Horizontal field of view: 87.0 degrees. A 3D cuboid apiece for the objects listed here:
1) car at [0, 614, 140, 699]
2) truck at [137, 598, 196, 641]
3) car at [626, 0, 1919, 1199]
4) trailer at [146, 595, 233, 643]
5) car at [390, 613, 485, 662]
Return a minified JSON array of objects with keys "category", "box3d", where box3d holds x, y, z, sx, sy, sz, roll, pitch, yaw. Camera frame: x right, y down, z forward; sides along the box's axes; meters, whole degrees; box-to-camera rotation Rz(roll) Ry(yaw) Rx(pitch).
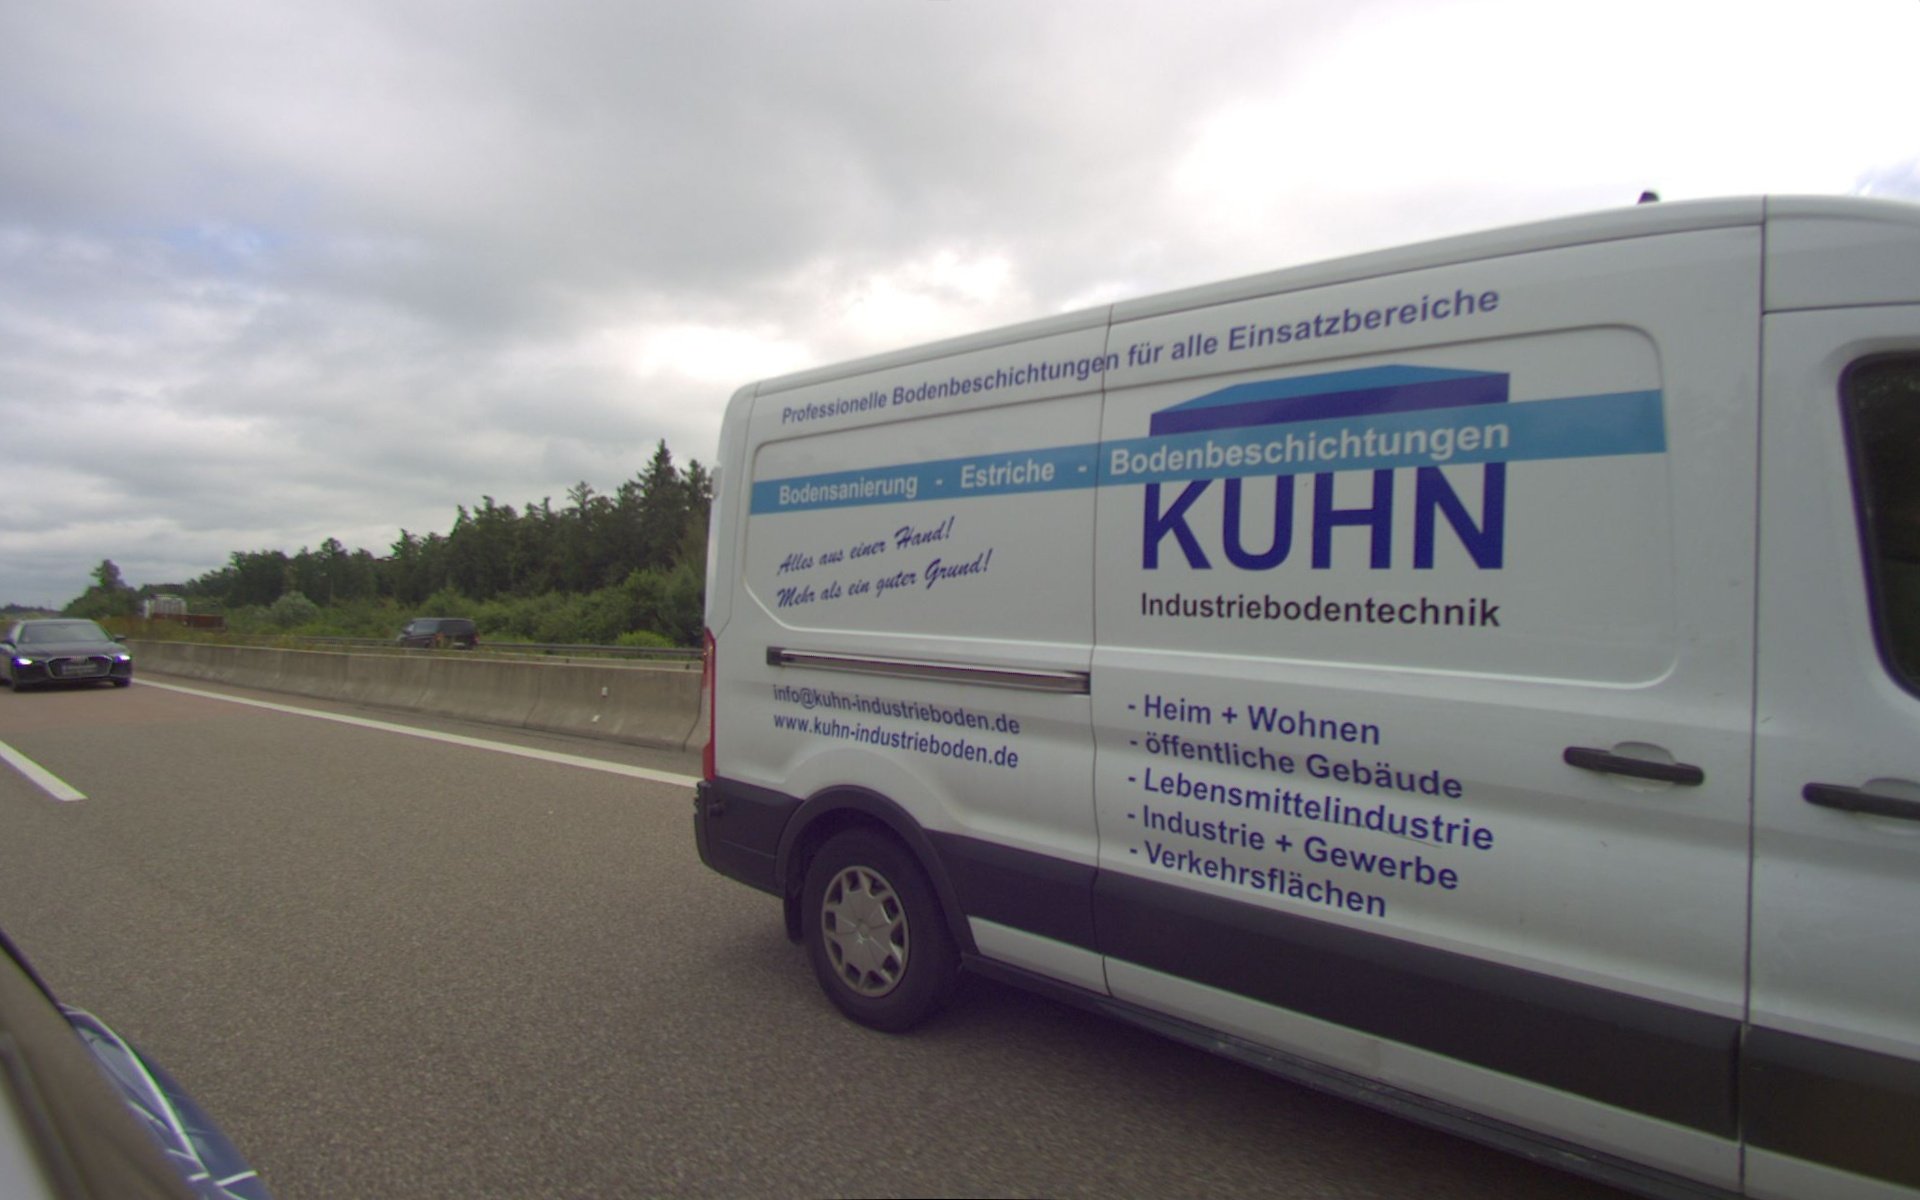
[{"category":"car","box3d":[-19.543,1.131,21.851,5.673,1.562,2.063,-1,0,43]},{"category":"truck","box3d":[-65.379,1.609,83.396,5.342,3.445,2.903,-1,0,42]},{"category":"car","box3d":[1.993,0.182,2.672,7.127,2.526,2.116,-1,-1,41]},{"category":"trailer","box3d":[-59.968,1.479,78.547,13.266,3.445,2.903,-1,0,42]},{"category":"car","box3d":[-24.223,1.694,46.815,5.269,2.028,2.230,-1,1,43]}]
